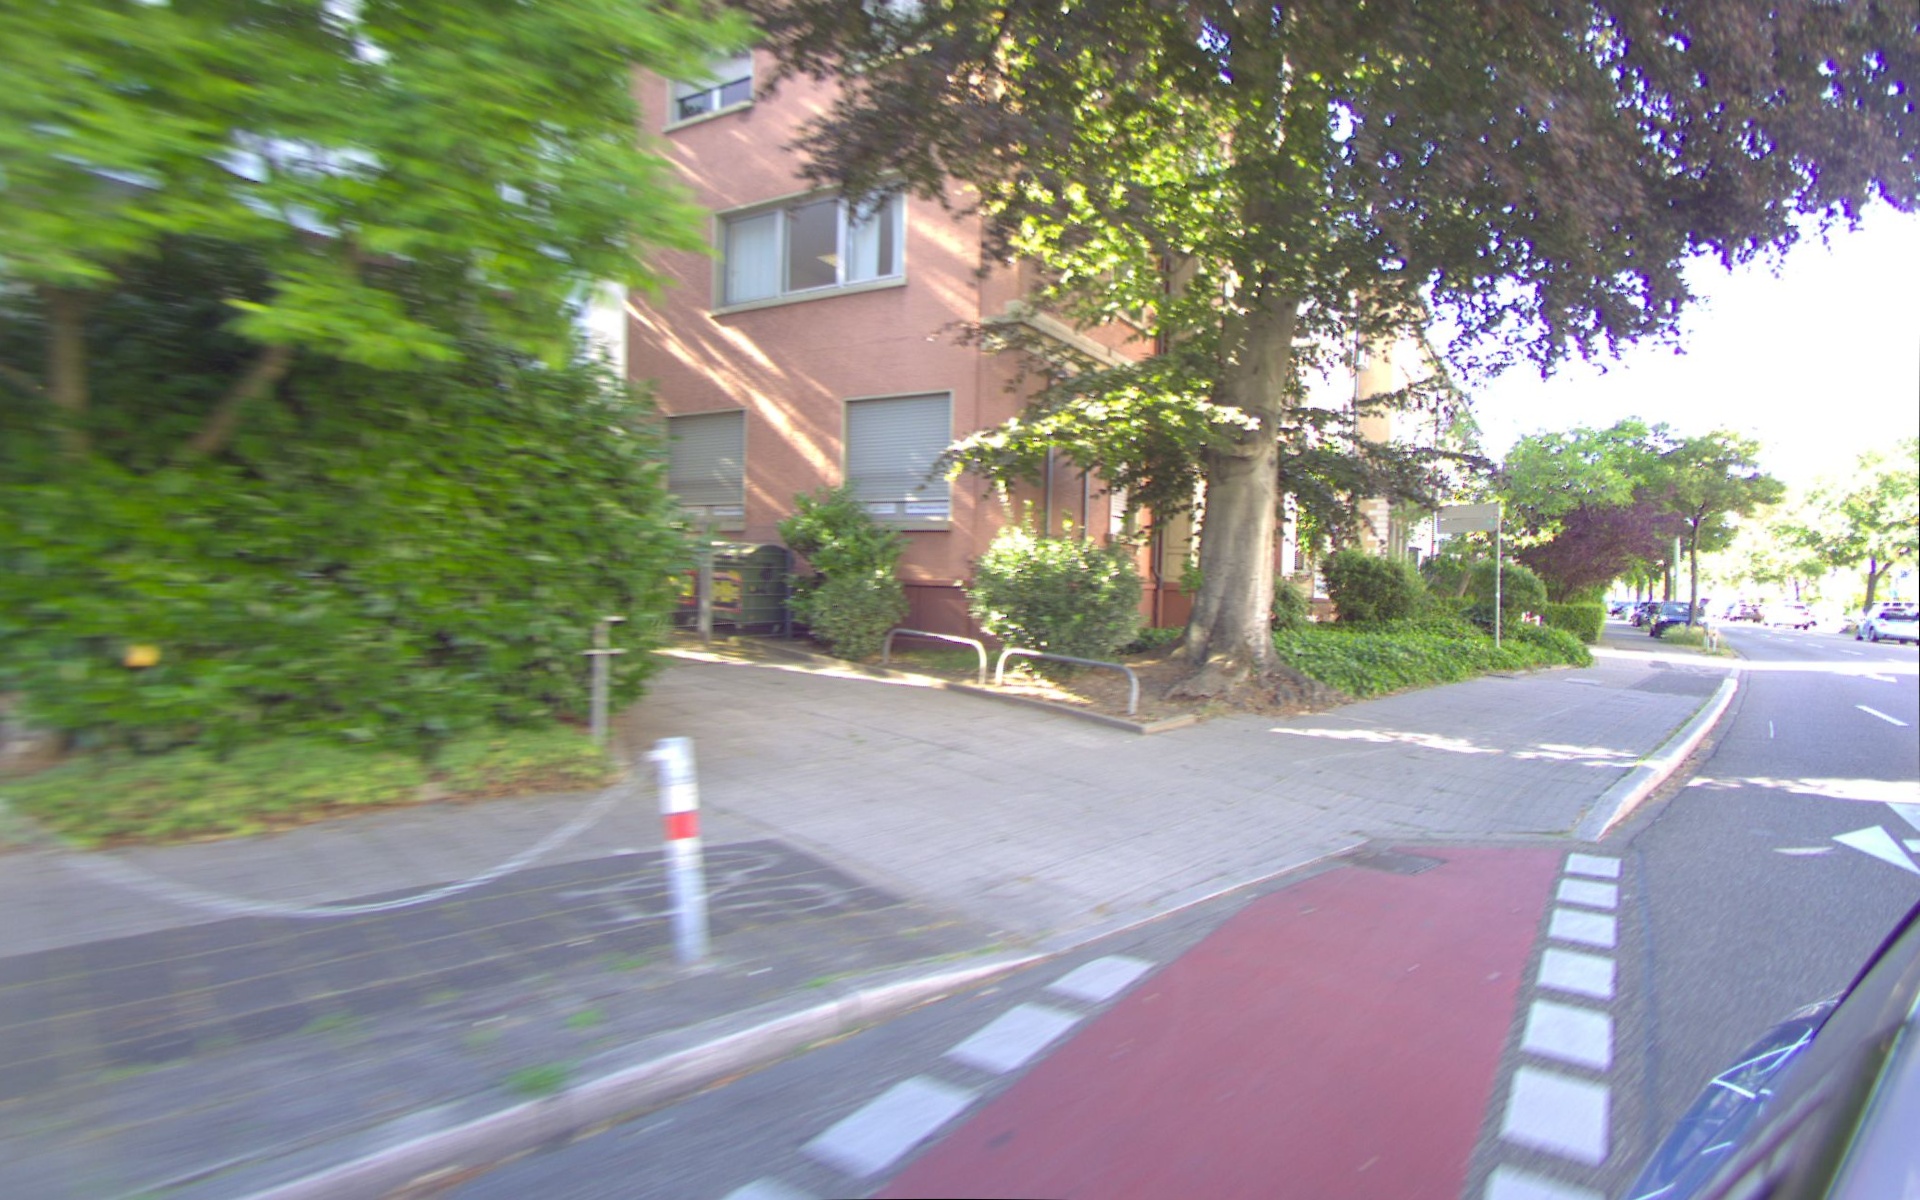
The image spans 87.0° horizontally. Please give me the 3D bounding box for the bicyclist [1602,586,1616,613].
[{"bbox_3d":[45.402,-0.051,70.816,0.721,1.815,1.004,3,2,32],"label":"bicyclist"}]

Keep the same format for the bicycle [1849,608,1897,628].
[{"bbox_3d":[53.582,1.034,59.401,0.453,1.105,2.030,1,0,-34],"label":"bicycle"}]

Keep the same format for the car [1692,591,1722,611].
[{"bbox_3d":[80.795,0.115,109.458,2.007,1.976,5.121,4,2,31],"label":"car"}]

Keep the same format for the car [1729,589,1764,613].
[{"bbox_3d":[69.729,0.098,89.760,1.796,1.934,4.658,5,3,32],"label":"car"}]

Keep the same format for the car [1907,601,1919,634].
[{"bbox_3d":[46.117,0.855,47.354,1.714,1.555,4.627,1,1,32],"label":"car"}]

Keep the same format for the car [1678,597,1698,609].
[{"bbox_3d":[91.521,0.378,127.278,1.726,1.429,4.144,5,3,32],"label":"car"}]

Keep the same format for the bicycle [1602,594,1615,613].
[{"bbox_3d":[45.343,0.216,70.751,0.695,1.262,1.801,3,2,32],"label":"bicycle"}]

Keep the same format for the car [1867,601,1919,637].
[{"bbox_3d":[40.166,0.807,42.936,1.730,1.398,3.893,4,2,31],"label":"car"}]

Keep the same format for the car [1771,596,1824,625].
[{"bbox_3d":[53.266,0.633,64.410,1.799,1.668,4.621,5,3,31],"label":"car"}]

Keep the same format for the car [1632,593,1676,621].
[{"bbox_3d":[39.973,0.376,58.342,1.706,1.508,4.188,3,2,30],"label":"car"}]

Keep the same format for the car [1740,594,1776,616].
[{"bbox_3d":[64.712,0.359,82.131,1.712,1.585,4.294,5,3,31],"label":"car"}]

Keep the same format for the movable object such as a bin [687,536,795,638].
[{"bbox_3d":[-3.369,-0.215,15.551,1.280,1.460,0.968,5,2,37],"label":"movable object such as a bin"}]

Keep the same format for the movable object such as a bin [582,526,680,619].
[{"bbox_3d":[-5.596,-0.478,17.210,1.280,1.459,0.968,6,3,37],"label":"movable object such as a bin"}]

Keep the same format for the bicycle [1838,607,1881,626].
[{"bbox_3d":[55.054,0.999,61.958,0.453,1.149,1.939,1,0,-30],"label":"bicycle"}]

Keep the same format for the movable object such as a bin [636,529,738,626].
[{"bbox_3d":[-4.457,-0.374,16.492,1.280,1.459,0.968,6,3,37],"label":"movable object such as a bin"}]

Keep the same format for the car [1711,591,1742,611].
[{"bbox_3d":[73.977,0.073,97.692,1.808,1.764,4.443,5,3,31],"label":"car"}]

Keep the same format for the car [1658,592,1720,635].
[{"bbox_3d":[28.979,0.492,40.306,1.552,1.533,3.616,5,2,30],"label":"car"}]
